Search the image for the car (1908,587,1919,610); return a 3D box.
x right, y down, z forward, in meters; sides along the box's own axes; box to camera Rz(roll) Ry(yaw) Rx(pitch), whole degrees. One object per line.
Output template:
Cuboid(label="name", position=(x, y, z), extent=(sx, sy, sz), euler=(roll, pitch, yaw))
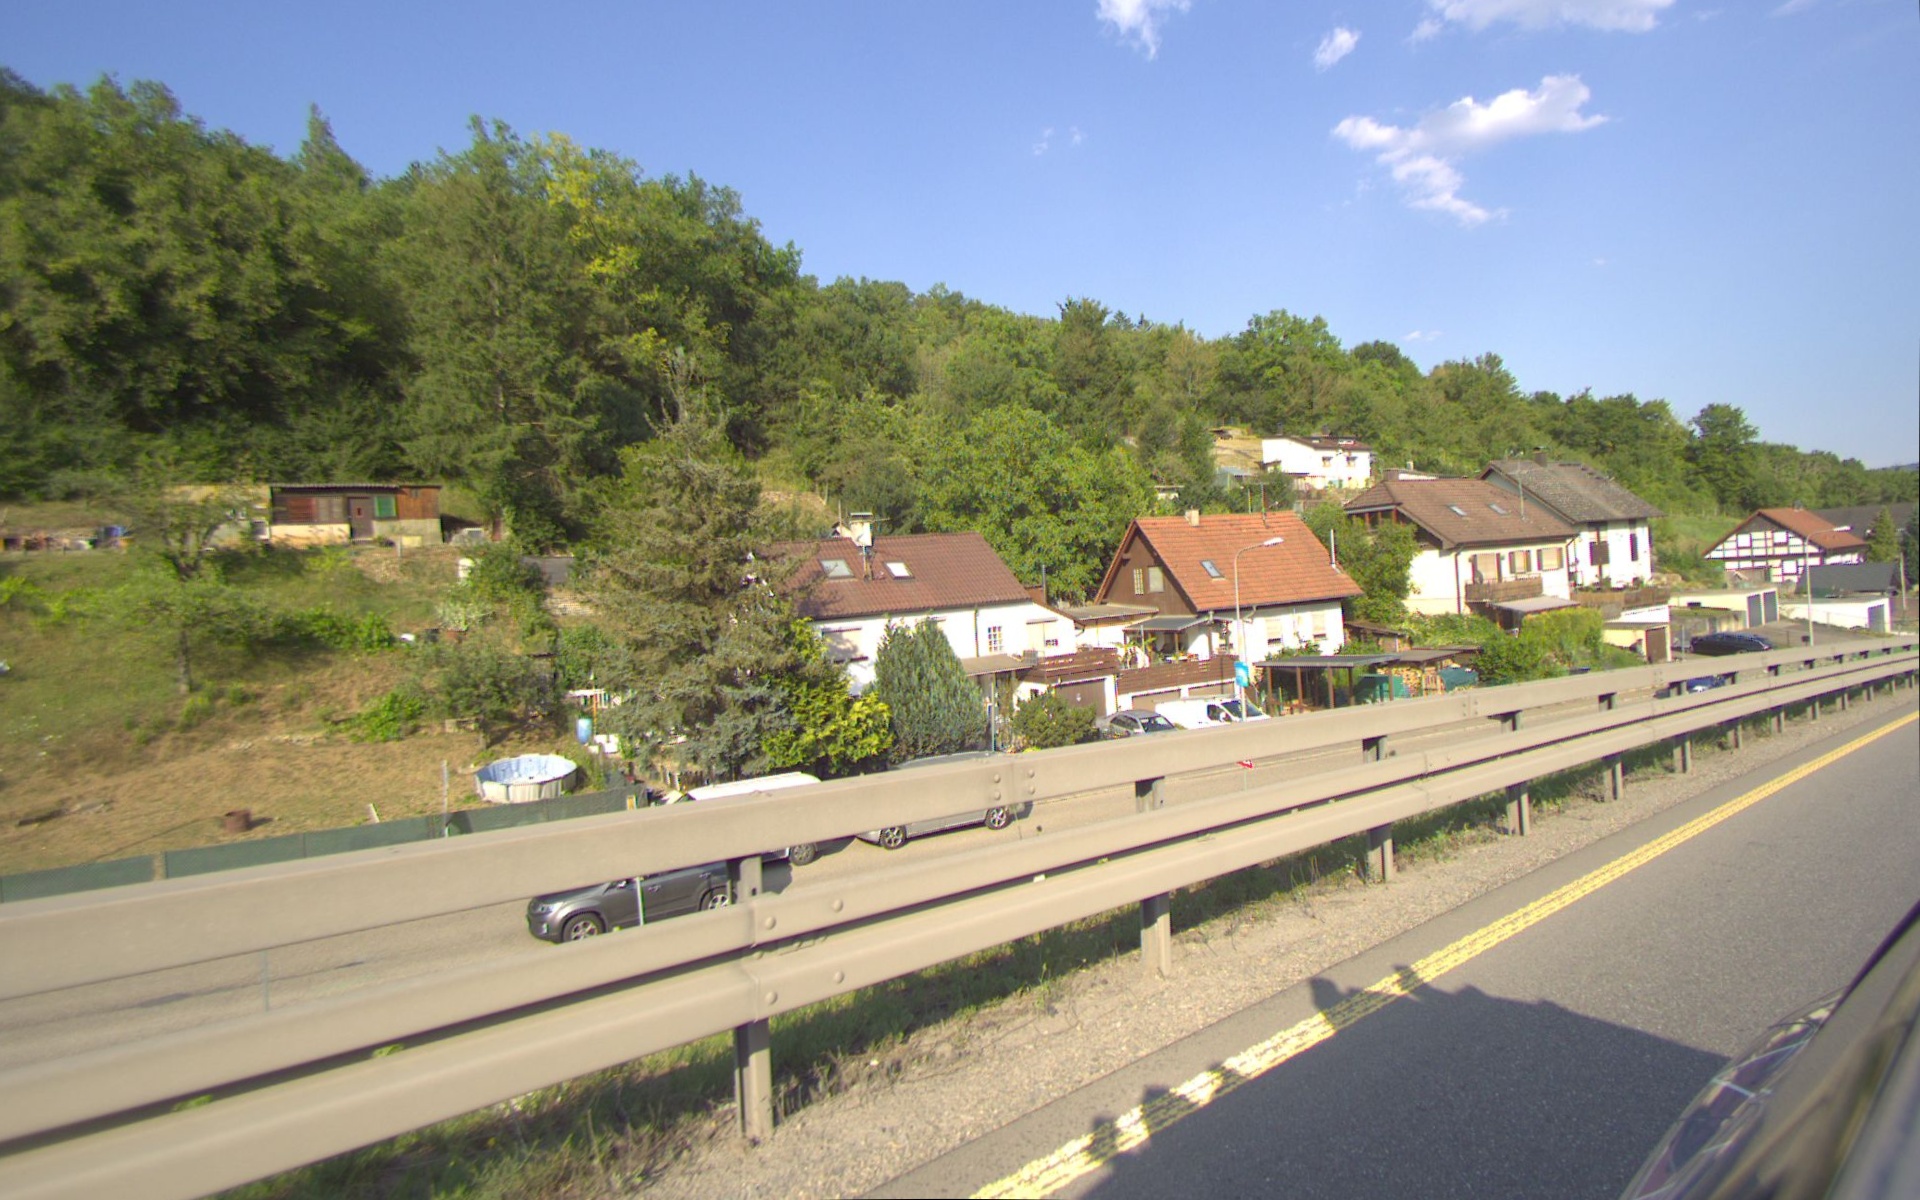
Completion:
Cuboid(label="car", position=(79.306, -0.057, 81.507), extent=(1.717, 1.861, 4.003), euler=(-3, 4, -33))

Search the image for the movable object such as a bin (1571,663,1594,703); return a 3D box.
Cuboid(label="movable object such as a bin", position=(28.646, 3.817, 46.605), extent=(0.405, 1.794, 0.491), euler=(-3, -8, -27))

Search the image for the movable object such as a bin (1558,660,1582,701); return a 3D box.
Cuboid(label="movable object such as a bin", position=(27.877, 3.687, 46.254), extent=(0.408, 1.794, 0.531), euler=(-3, -8, -27))

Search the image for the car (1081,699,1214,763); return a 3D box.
Cuboid(label="car", position=(6.695, 4.665, 36.715), extent=(1.682, 1.576, 5.109), euler=(-2, 1, -32))

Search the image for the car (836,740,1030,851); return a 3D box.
Cuboid(label="car", position=(-0.693, 5.146, 27.181), extent=(4.767, 1.940, 2.005), euler=(-3, 2, -30))

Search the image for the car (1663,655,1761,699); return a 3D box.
Cuboid(label="car", position=(33.567, 3.435, 45.194), extent=(3.543, 1.619, 1.775), euler=(-4, -4, -22))

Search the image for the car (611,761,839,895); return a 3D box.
Cuboid(label="car", position=(-5.600, 5.362, 24.389), extent=(4.954, 2.010, 1.870), euler=(-3, 2, -32))

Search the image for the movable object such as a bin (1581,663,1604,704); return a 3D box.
Cuboid(label="movable object such as a bin", position=(29.398, 3.879, 47.008), extent=(0.405, 1.794, 0.491), euler=(-3, -8, -27))

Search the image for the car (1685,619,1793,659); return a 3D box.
Cuboid(label="car", position=(45.545, 2.242, 59.261), extent=(1.961, 1.542, 4.517), euler=(-3, 8, -31))

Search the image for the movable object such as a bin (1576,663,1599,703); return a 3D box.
Cuboid(label="movable object such as a bin", position=(29.016, 3.835, 46.810), extent=(0.405, 1.794, 0.491), euler=(-3, -8, -27))

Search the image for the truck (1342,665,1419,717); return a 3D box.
Cuboid(label="truck", position=(18.305, 3.944, 44.242), extent=(1.967, 1.760, 3.990), euler=(-7, -2, 8))

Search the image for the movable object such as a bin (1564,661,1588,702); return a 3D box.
Cuboid(label="movable object such as a bin", position=(28.263, 3.753, 46.433), extent=(0.400, 1.794, 0.537), euler=(-3, -8, -27))

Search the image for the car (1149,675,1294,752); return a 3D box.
Cuboid(label="car", position=(9.919, 4.244, 38.866), extent=(1.961, 2.292, 5.487), euler=(-2, 1, -32))

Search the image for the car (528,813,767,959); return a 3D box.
Cuboid(label="car", position=(-6.401, 5.749, 20.793), extent=(4.407, 1.807, 1.871), euler=(-2, 1, -27))
